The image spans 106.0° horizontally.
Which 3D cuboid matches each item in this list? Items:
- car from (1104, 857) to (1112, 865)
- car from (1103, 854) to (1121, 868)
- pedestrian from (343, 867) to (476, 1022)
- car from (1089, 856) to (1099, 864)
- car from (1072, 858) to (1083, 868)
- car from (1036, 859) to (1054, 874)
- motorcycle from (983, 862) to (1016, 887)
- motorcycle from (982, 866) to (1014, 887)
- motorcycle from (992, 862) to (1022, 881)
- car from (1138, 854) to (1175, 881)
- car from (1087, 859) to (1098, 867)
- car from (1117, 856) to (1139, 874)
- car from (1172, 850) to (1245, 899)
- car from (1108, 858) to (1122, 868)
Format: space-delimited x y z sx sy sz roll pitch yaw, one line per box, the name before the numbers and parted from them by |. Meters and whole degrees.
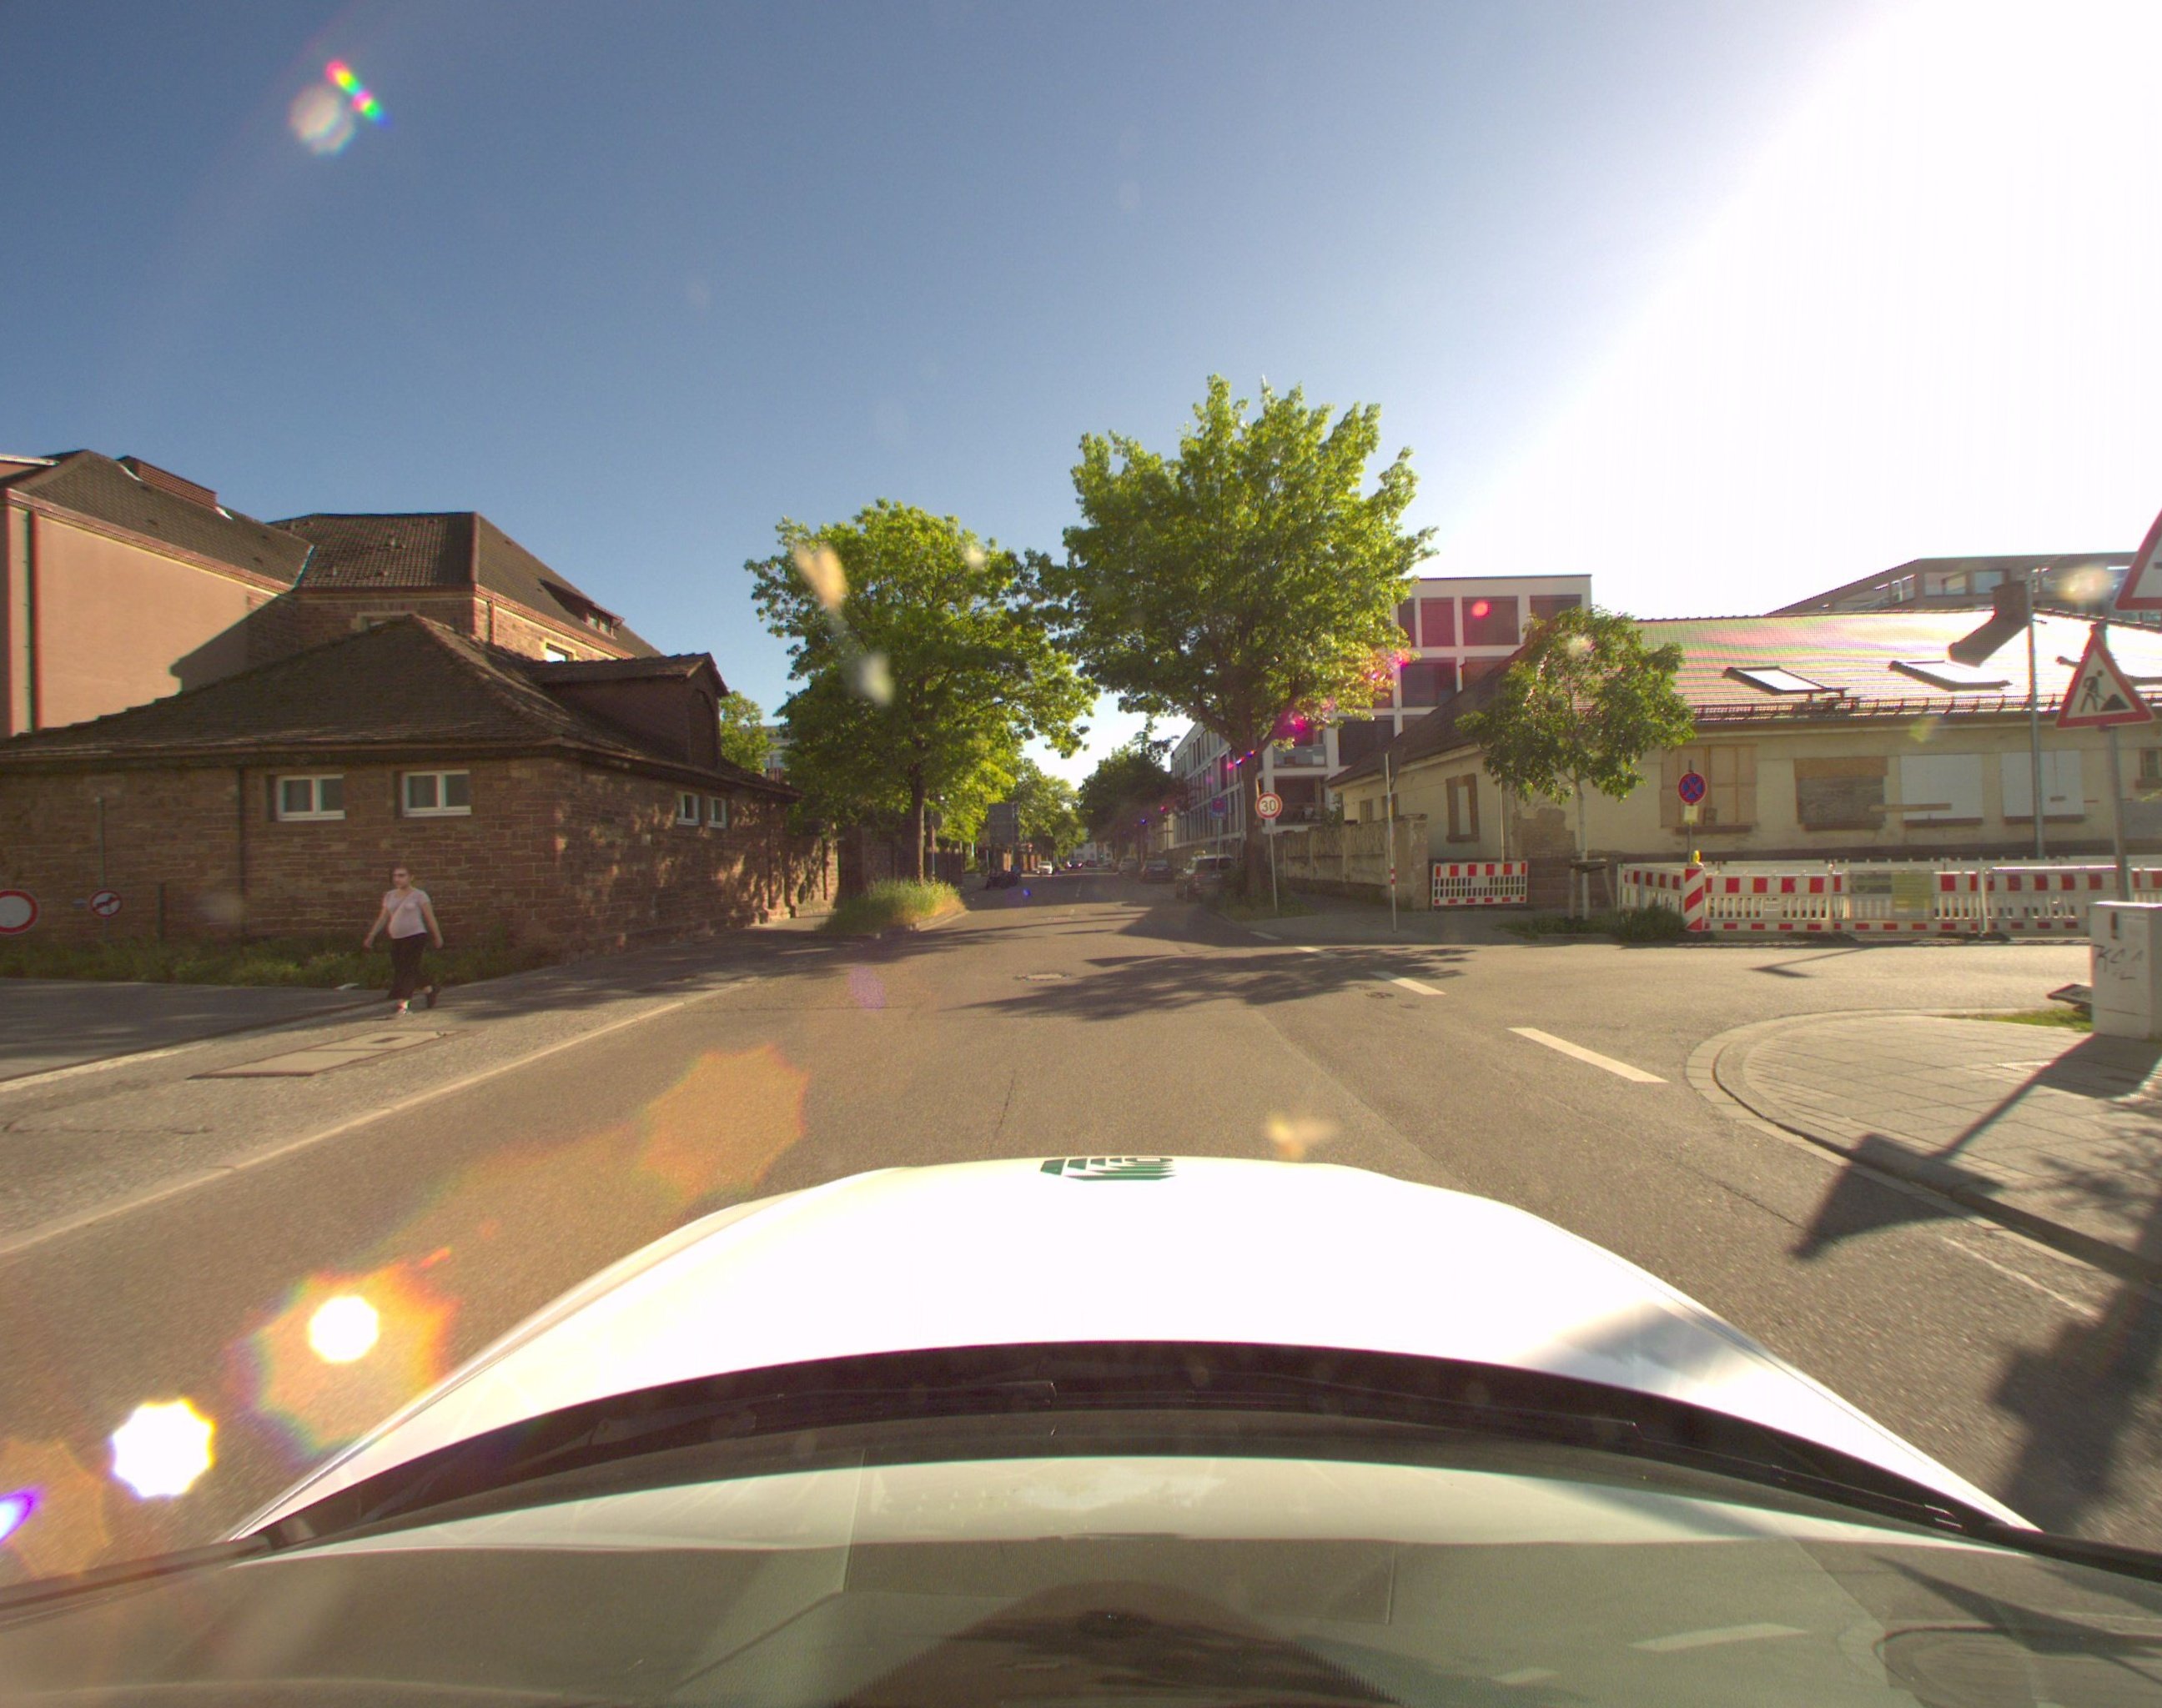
car | 5.237 1.392 158.312 1.580 1.400 3.837 -2 0 1
car | 3.578 0.779 93.312 1.986 1.465 3.837 -2 0 1
pedestrian | -7.340 0.943 8.956 0.519 1.562 1.096 -2 0 0
car | 2.574 1.143 156.003 1.882 1.400 3.837 -2 0 1
car | -0.546 1.352 125.066 1.648 1.530 4.000 -2 0 0
car | -3.963 1.374 89.278 1.762 1.487 3.998 -2 0 -1
motorcycle | -4.481 1.130 44.933 0.570 1.276 2.135 -2 0 34
motorcycle | -4.697 1.256 46.130 0.570 1.074 2.135 -2 0 34
motorcycle | -4.435 1.036 49.078 0.570 1.074 2.135 -2 0 34
car | 4.430 0.787 48.438 1.762 1.440 3.998 -2 0 -1
car | 2.211 1.745 155.920 1.762 1.548 4.063 -2 0 -2
car | 4.402 1.026 77.165 1.943 1.578 3.837 -2 0 1
car | 4.155 0.631 27.184 1.697 1.468 4.788 -1 0 0
car | 5.130 1.293 124.208 1.986 1.425 3.837 -2 0 1
